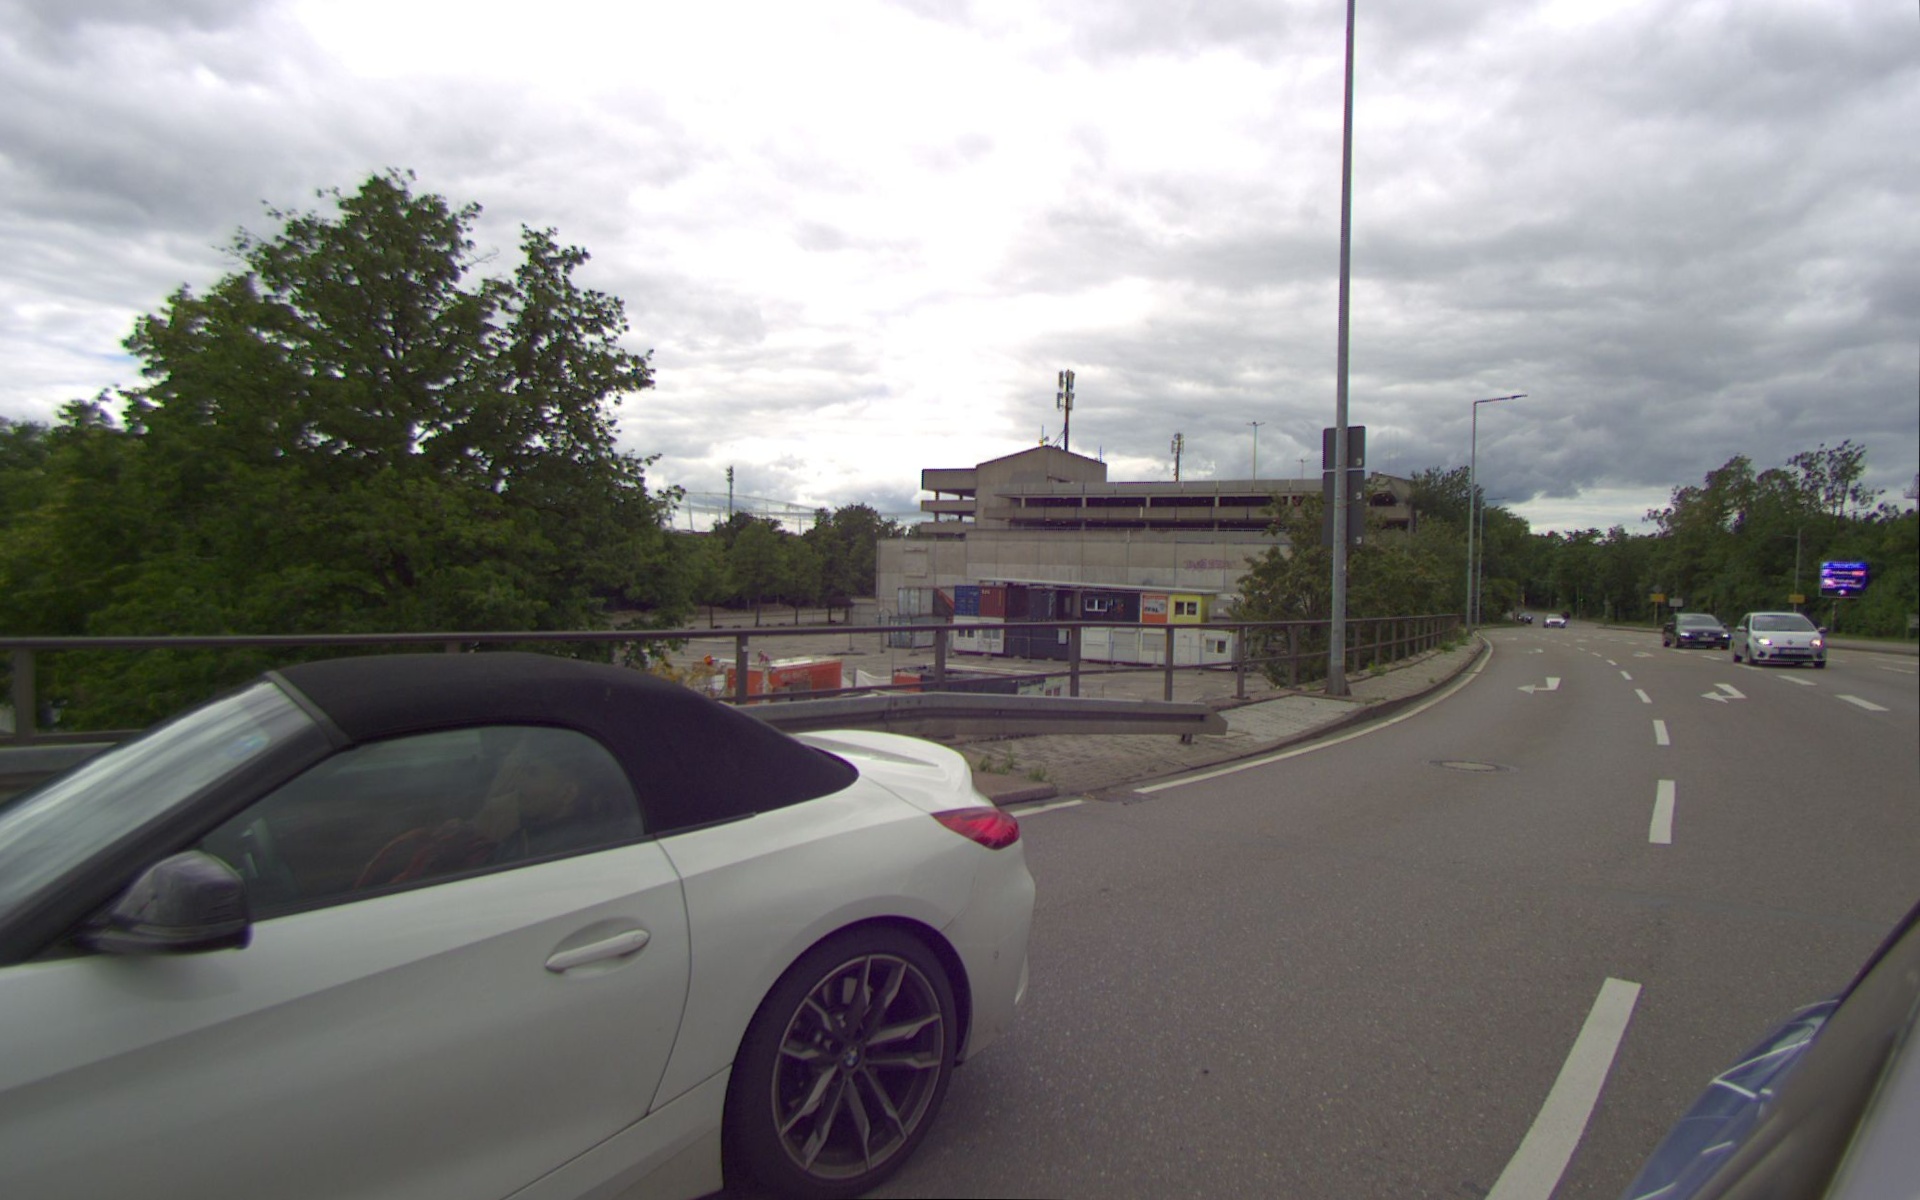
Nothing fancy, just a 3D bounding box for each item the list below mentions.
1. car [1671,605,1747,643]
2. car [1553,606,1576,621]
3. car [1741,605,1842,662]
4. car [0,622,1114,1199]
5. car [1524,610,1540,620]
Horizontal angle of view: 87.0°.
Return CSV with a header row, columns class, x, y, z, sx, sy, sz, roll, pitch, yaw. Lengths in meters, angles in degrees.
class,x,y,z,sx,sy,sz,roll,pitch,yaw
car,30.405,0.935,41.191,1.849,1.434,4.295,1,0,28
car,63.544,1.413,106.456,1.848,1.434,4.296,1,0,27
car,22.634,0.859,27.667,1.597,1.434,3.552,1,0,30
car,-1.727,0.750,2.392,4.186,1.308,1.809,0,0,-39
car,84.877,2.216,150.229,1.848,1.434,4.296,1,0,28
